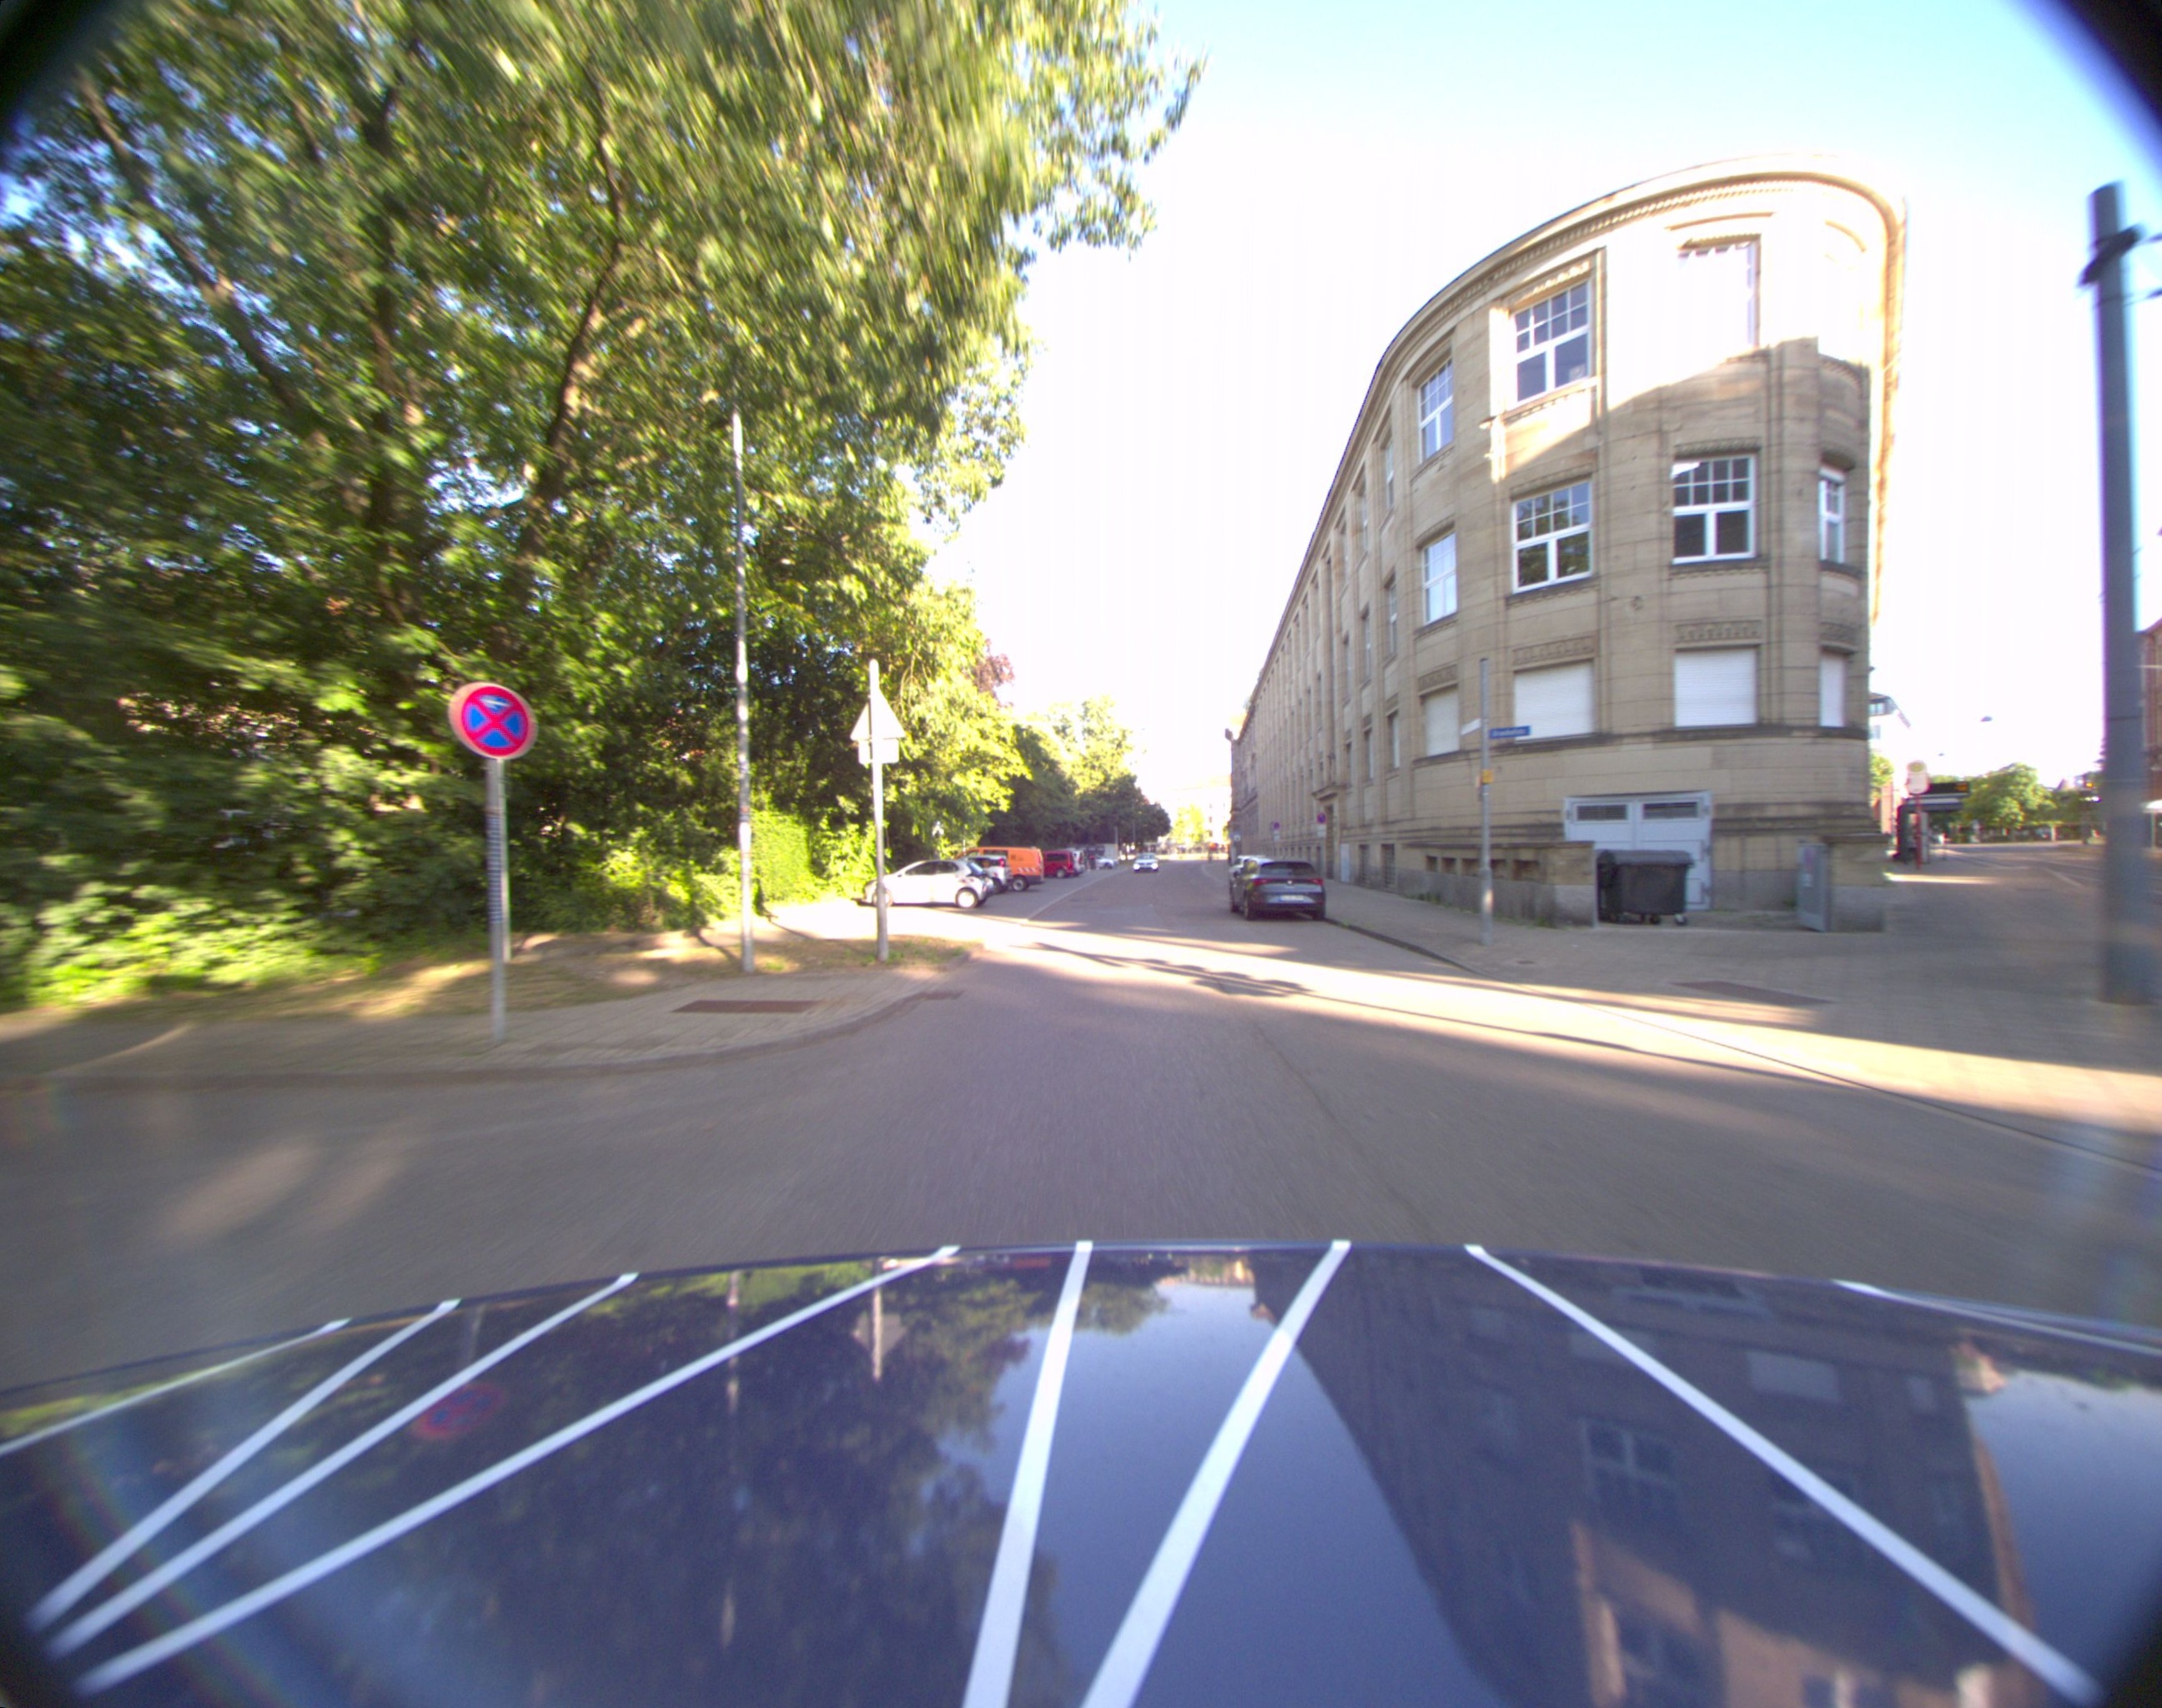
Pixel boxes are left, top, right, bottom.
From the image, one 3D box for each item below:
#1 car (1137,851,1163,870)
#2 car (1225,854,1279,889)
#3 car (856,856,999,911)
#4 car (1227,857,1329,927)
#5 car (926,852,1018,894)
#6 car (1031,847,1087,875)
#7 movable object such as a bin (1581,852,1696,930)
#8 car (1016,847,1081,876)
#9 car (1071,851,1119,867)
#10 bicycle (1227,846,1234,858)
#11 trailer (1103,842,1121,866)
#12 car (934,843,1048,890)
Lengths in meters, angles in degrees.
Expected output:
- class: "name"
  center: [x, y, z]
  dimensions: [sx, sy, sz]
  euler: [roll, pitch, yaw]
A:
- class: "car"
  center: [5.618, 0.530, 61.503]
  dimensions: [1.686, 1.445, 4.106]
  euler: [-1, 1, 10]
- class: "car"
  center: [7.923, 0.758, 35.539]
  dimensions: [1.747, 1.426, 4.562]
  euler: [-2, 1, 4]
- class: "car"
  center: [-4.675, 0.878, 23.443]
  dimensions: [3.996, 1.538, 1.735]
  euler: [1, 1, 3]
- class: "car"
  center: [4.642, 0.837, 18.494]
  dimensions: [1.747, 1.439, 4.209]
  euler: [-1, 1, 5]
- class: "car"
  center: [-4.465, 0.759, 31.399]
  dimensions: [3.403, 1.622, 1.680]
  euler: [1, 1, 6]
- class: "car"
  center: [-1.505, 0.472, 52.361]
  dimensions: [3.607, 1.873, 1.784]
  euler: [0, 1, 9]
- class: "movable object such as a bin"
  center: [10.846, 0.681, 14.890]
  dimensions: [1.184, 1.420, 1.924]
  euler: [-1, 1, 15]
- class: "car"
  center: [-2.159, 0.469, 50.420]
  dimensions: [3.978, 1.852, 1.921]
  euler: [0, 1, 10]
- class: "car"
  center: [1.402, 0.510, 74.724]
  dimensions: [4.439, 1.458, 1.712]
  euler: [-1, 1, 9]
- class: "bicycle"
  center: [15.446, -0.201, 78.438]
  dimensions: [0.457, 1.202, 1.880]
  euler: [-1, 1, 17]
- class: "trailer"
  center: [3.514, -0.061, 85.493]
  dimensions: [1.600, 2.625, 3.705]
  euler: [-1, 1, 9]
- class: "car"
  center: [-3.982, 0.547, 34.100]
  dimensions: [4.806, 1.986, 2.081]
  euler: [1, 1, 2]
